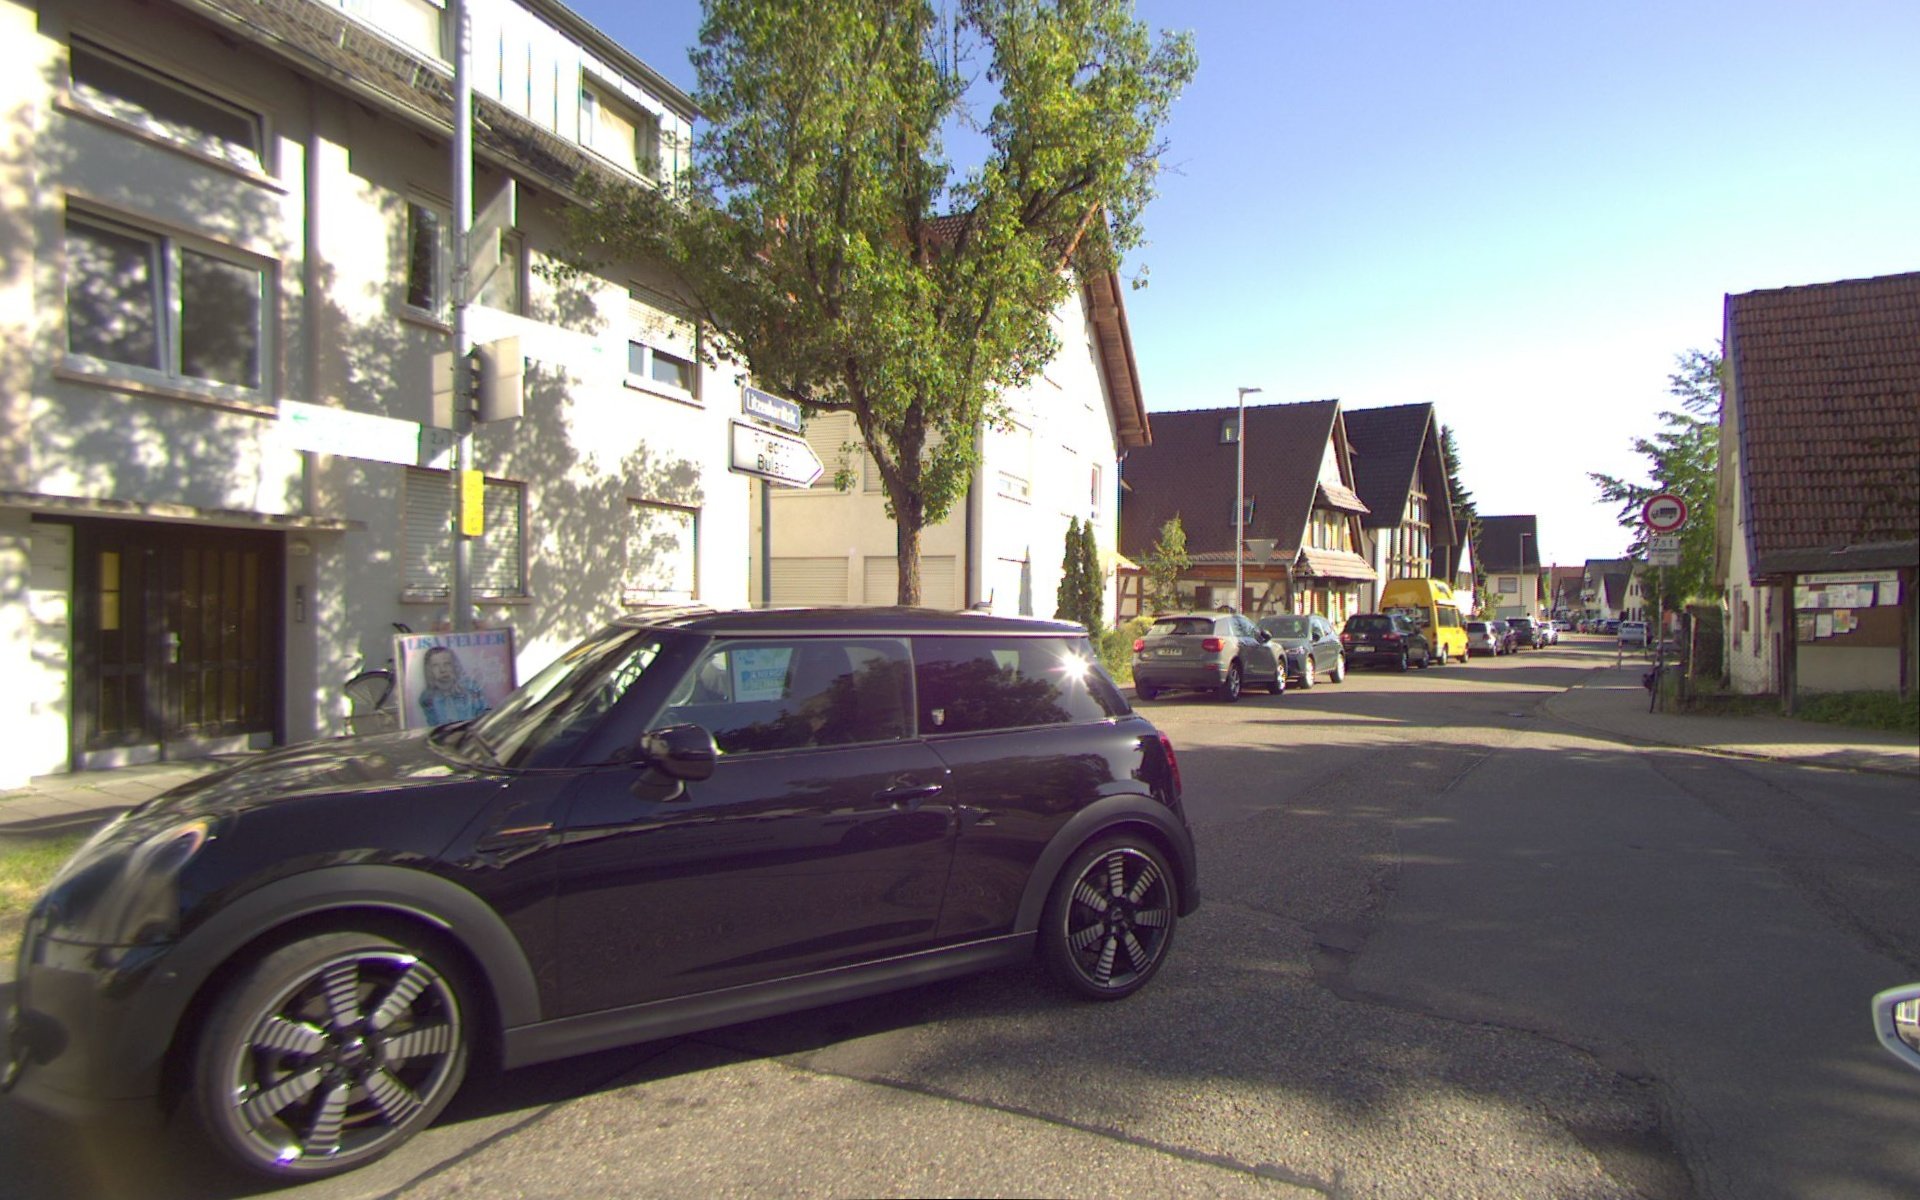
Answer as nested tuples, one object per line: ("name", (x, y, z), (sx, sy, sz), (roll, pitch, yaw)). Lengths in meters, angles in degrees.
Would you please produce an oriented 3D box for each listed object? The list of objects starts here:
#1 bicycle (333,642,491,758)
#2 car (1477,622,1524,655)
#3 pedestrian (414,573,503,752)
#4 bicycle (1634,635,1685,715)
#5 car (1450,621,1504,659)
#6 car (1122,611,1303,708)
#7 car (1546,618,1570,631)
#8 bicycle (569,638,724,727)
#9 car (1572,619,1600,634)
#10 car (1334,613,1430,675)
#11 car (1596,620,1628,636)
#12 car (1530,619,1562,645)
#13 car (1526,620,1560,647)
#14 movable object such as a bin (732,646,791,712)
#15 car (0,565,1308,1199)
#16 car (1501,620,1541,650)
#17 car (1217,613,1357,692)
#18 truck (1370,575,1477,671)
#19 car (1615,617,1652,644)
("bicycle", (-5.448, 0.957, 10.063), (0.417, 1.066, 1.380), (0, -2, 27))
("car", (23.921, 1.689, 44.424), (1.566, 1.354, 3.606), (1, -1, 32))
("pedestrian", (-4.993, 0.610, 10.013), (0.476, 1.715, 0.556), (1, -2, 31))
("bicycle", (11.211, 1.164, 16.074), (0.428, 1.192, 1.818), (0, -1, 42))
("car", (21.032, 1.581, 40.806), (1.622, 1.452, 3.606), (1, -1, 32))
("car", (4.699, 1.009, 18.263), (1.843, 1.525, 4.094), (0, -1, 35))
("car", (77.500, 3.163, 130.229), (1.941, 1.604, 3.994), (1, -1, 21))
("bicycle", (-4.066, 1.044, 13.188), (0.570, 1.066, 2.030), (0, -2, 33))
("car", (71.837, 2.995, 115.351), (1.941, 1.604, 3.994), (1, -1, 21))
("car", (12.295, 1.241, 29.160), (1.782, 1.643, 3.868), (0, -1, 35))
("car", (68.455, 2.922, 105.522), (1.941, 1.604, 3.994), (1, -1, 21))
("car", (35.724, 1.929, 61.195), (1.566, 1.462, 3.606), (1, -1, 32))
("car", (33.256, 1.865, 57.267), (1.566, 1.462, 3.606), (1, -1, 32))
("movable object such as a bin", (-3.065, 1.206, 15.506), (0.615, 0.958, 0.661), (1, -1, 22))
("car", (-0.752, 0.692, 3.769), (3.950, 1.497, 1.653), (1, 1, -29))
("car", (28.771, 1.764, 51.473), (1.566, 1.462, 3.606), (1, -1, 32))
("car", (7.198, 1.088, 21.858), (1.782, 1.525, 4.094), (0, -1, 35))
("truck", (15.618, 0.767, 33.634), (2.238, 2.906, 5.764), (0, -1, 35))
("car", (46.284, 2.055, 69.084), (1.945, 1.736, 3.985), (1, -1, 32))
